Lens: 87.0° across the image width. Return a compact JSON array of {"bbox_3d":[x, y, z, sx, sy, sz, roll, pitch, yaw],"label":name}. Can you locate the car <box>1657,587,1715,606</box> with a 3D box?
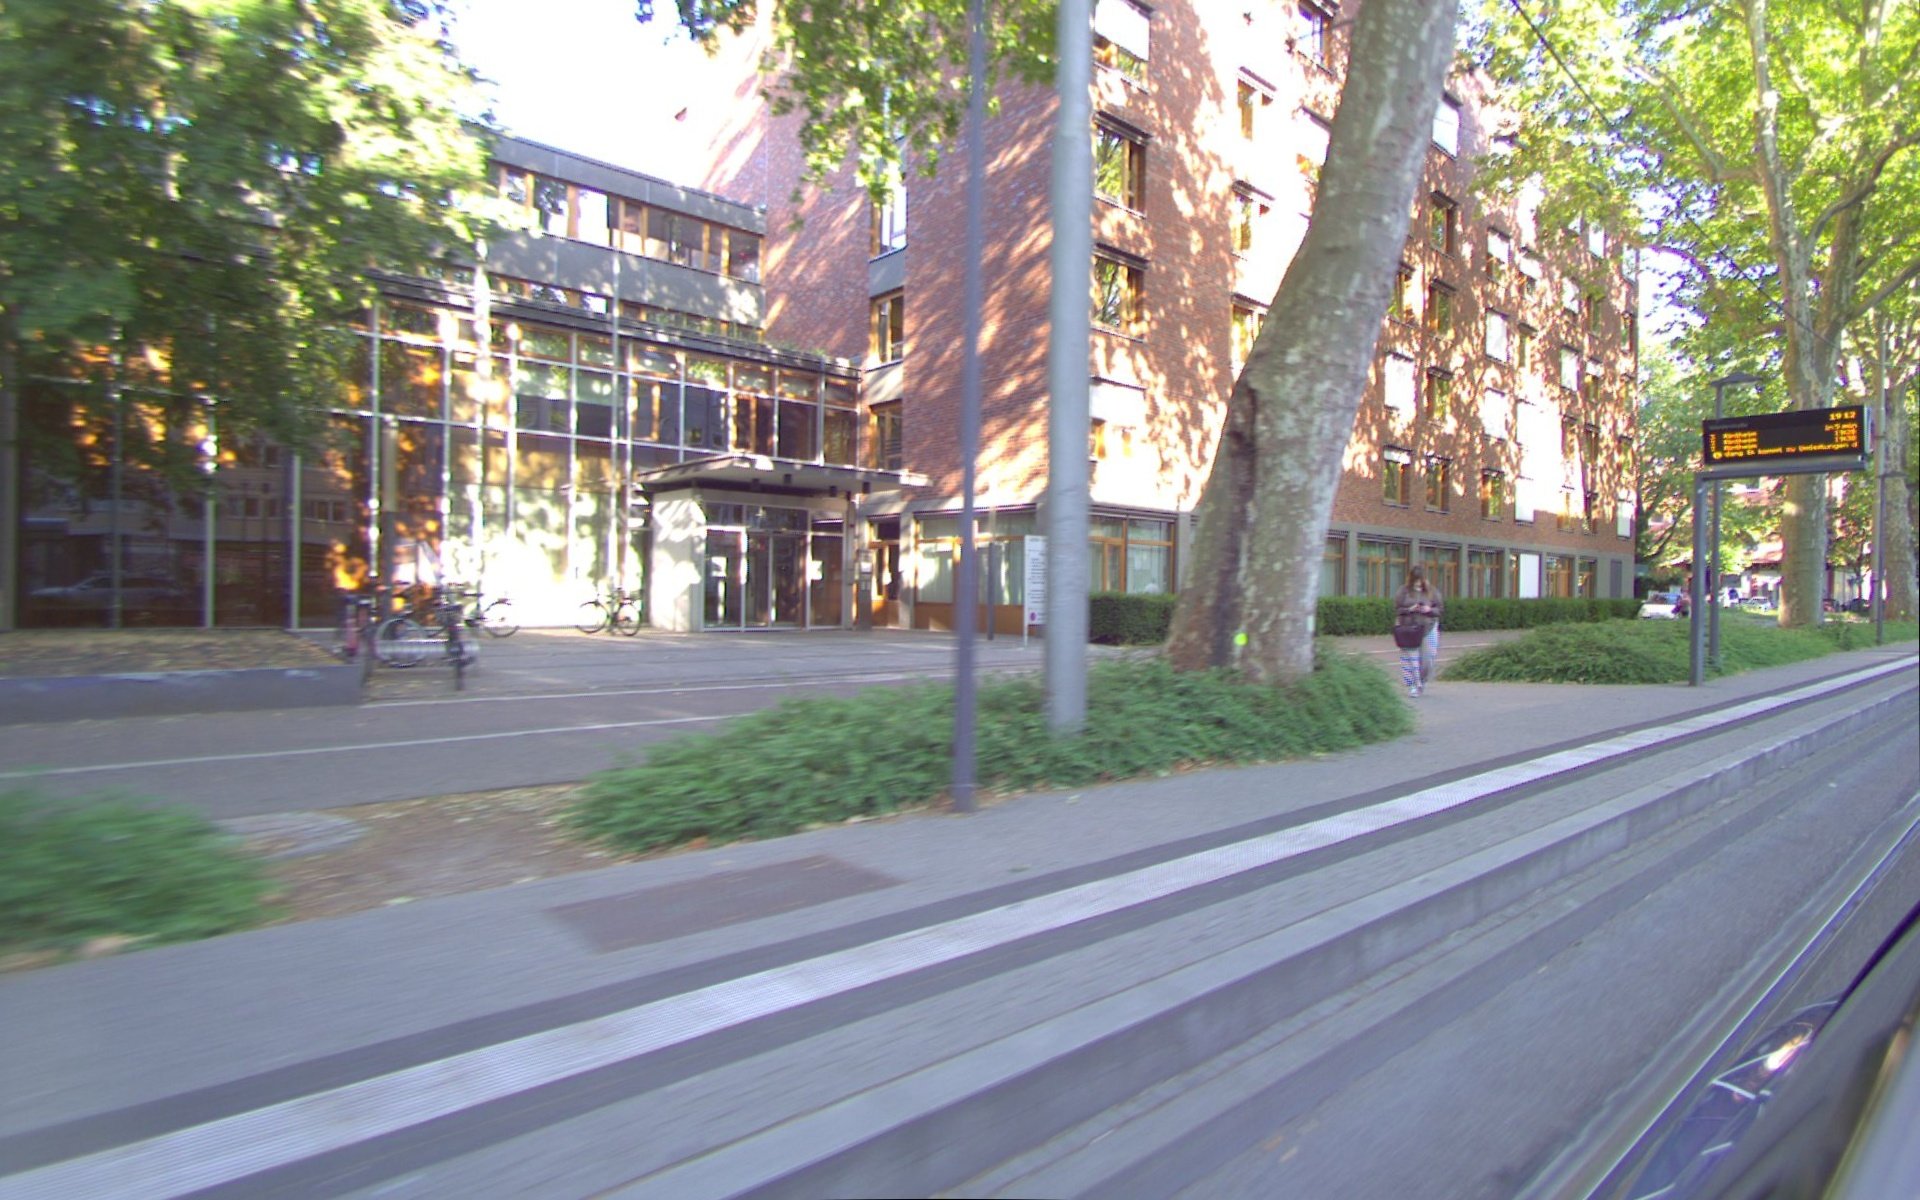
[{"bbox_3d":[63.191,-0.282,88.101,1.964,1.549,3.674,0,2,-39],"label":"car"}]

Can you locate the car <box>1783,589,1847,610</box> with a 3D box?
[{"bbox_3d":[68.753,-0.082,81.396,1.964,1.549,3.674,0,2,-39],"label":"car"}]

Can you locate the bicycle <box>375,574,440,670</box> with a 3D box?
[{"bbox_3d":[-7.689,0.263,14.045,0.561,1.171,2.039,0,3,-35],"label":"bicycle"}]

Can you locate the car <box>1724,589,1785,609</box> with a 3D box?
[{"bbox_3d":[66.273,-0.105,84.413,1.964,1.549,3.674,0,2,-39],"label":"car"}]

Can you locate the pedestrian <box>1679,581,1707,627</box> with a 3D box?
[{"bbox_3d":[28.095,0.156,38.783,0.736,1.712,0.710,0,1,-42],"label":"pedestrian"}]

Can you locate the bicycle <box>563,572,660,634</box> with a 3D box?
[{"bbox_3d":[-7.254,0.042,21.031,1.930,1.171,0.727,3,2,24],"label":"bicycle"}]

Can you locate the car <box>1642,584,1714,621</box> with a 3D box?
[{"bbox_3d":[31.283,0.084,44.082,3.892,1.527,1.657,0,1,-41],"label":"car"}]

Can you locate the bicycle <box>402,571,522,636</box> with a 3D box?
[{"bbox_3d":[-9.494,0.054,19.330,1.997,1.171,0.709,0,2,-31],"label":"bicycle"}]

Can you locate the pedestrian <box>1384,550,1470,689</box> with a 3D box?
[{"bbox_3d":[5.883,0.228,12.807,0.757,1.680,0.914,1,1,12],"label":"pedestrian"}]

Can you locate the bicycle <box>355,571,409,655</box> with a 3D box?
[{"bbox_3d":[-8.914,0.173,15.585,0.561,1.171,1.684,0,3,-35],"label":"bicycle"}]

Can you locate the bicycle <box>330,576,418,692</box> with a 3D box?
[{"bbox_3d":[-6.880,0.347,11.834,0.562,1.171,2.036,0,3,-39],"label":"bicycle"}]

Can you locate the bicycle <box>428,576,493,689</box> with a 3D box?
[{"bbox_3d":[-6.017,0.336,12.148,0.560,1.171,2.041,1,3,-30],"label":"bicycle"}]

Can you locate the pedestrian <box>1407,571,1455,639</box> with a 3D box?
[{"bbox_3d":[11.937,0.122,25.654,0.901,1.680,0.768,0,1,-40],"label":"pedestrian"}]
